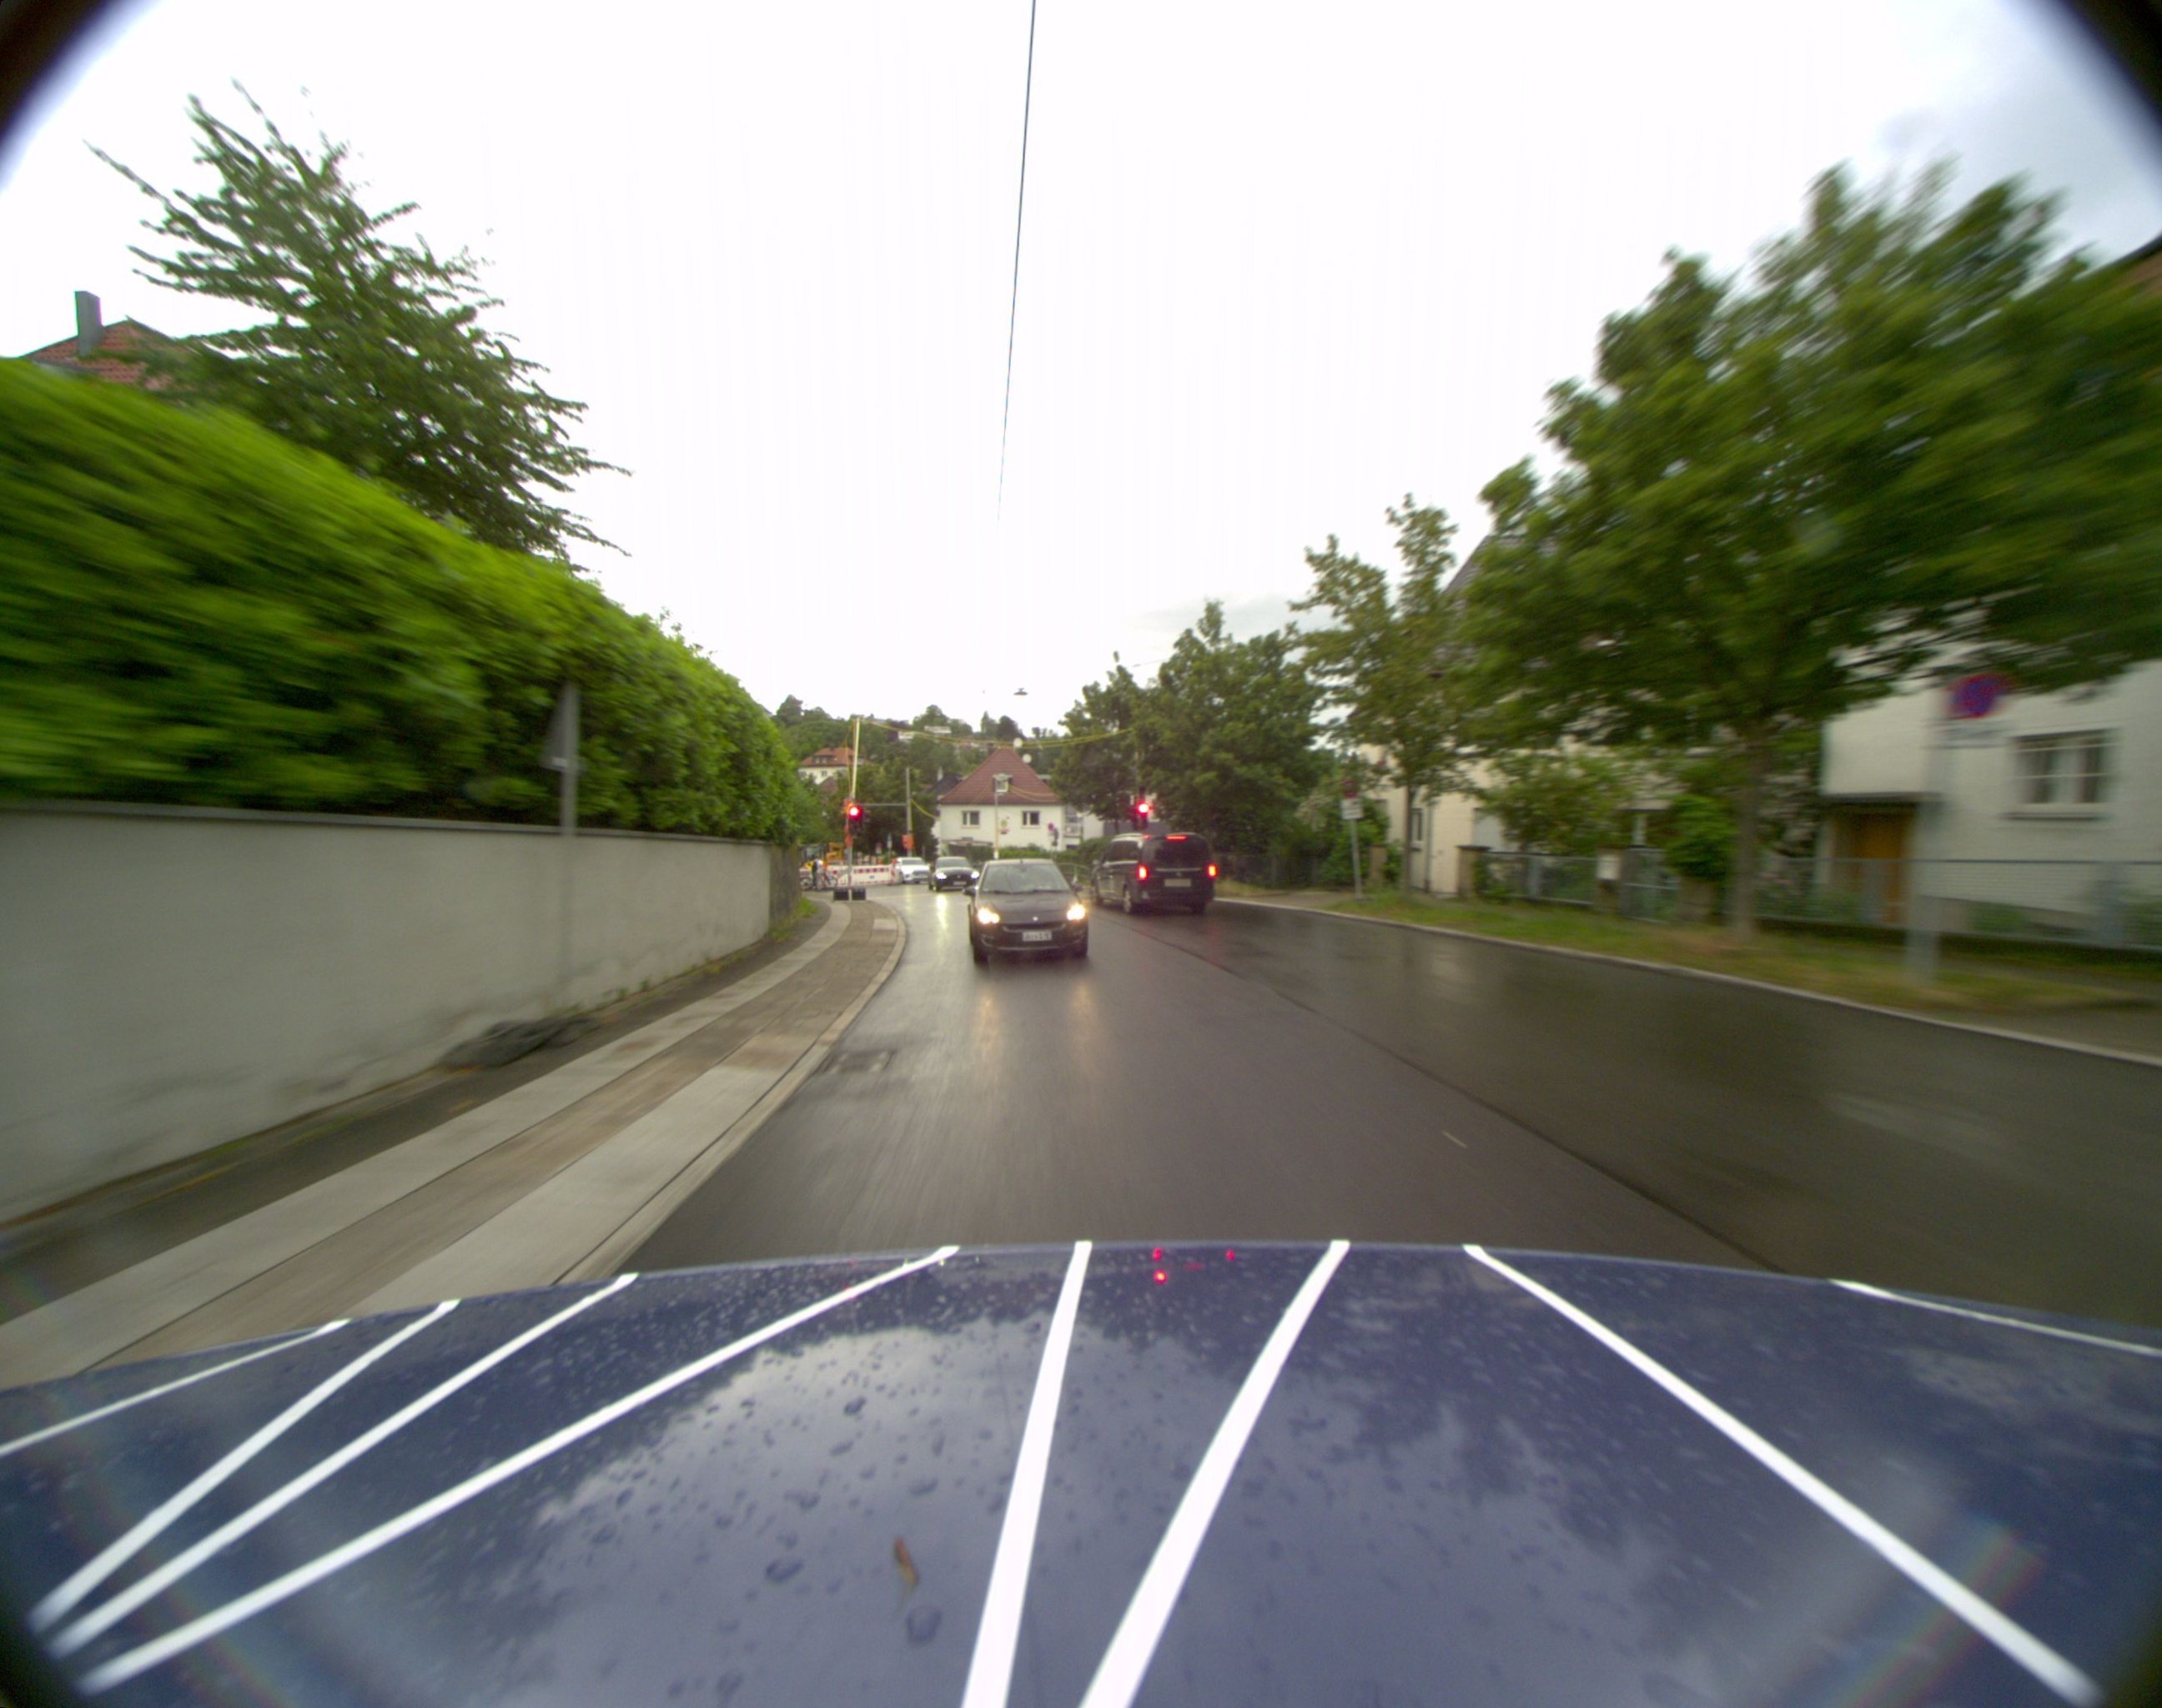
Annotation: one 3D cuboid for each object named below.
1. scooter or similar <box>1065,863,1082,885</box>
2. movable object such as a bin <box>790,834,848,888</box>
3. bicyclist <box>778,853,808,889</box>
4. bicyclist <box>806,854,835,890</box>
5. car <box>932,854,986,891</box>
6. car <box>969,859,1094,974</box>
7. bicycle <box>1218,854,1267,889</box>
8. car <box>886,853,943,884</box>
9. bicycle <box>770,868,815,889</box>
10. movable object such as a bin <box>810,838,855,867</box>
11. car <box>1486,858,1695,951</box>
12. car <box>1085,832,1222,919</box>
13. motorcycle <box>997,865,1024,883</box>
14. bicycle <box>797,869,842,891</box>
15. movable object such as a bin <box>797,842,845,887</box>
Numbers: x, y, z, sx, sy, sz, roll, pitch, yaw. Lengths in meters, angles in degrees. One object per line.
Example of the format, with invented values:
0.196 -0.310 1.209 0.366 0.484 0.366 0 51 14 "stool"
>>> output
-0.374 0.976 37.903 0.325 1.074 1.093 1 -1 -32 "scooter or similar"
-14.867 0.414 42.875 2.096 2.821 5.664 -1 0 -29 "movable object such as a bin"
-14.353 0.831 37.916 1.076 1.719 0.933 -1 1 5 "bicyclist"
-12.826 0.857 37.454 1.079 1.719 0.930 -2 1 -38 "bicyclist"
-5.313 0.747 32.687 1.845 1.395 4.065 0 1 -15 "car"
-1.015 0.865 12.703 1.675 1.457 4.711 0 1 -9 "car"
6.187 0.675 29.325 0.493 1.264 2.268 -3 0 -26 "bicycle"
-10.204 0.828 46.407 2.005 1.699 4.562 0 1 -31 "car"
-14.400 1.215 37.934 1.827 0.975 0.933 -1 1 5 "bicycle"
-34.768 -0.250 106.717 3.328 3.817 7.206 1 1 6 "movable object such as a bin"
13.351 1.268 20.187 3.992 1.576 1.856 11 3 10 "car"
1.637 0.459 19.279 1.904 1.878 5.146 0 0 -13 "car"
-4.151 1.146 44.608 0.670 1.030 2.147 0 -1 -33 "motorcycle"
-12.879 1.273 37.423 1.888 0.975 0.930 -2 1 -38 "bicycle"
-17.725 0.634 51.619 2.096 2.822 5.661 -1 2 -29 "movable object such as a bin"
